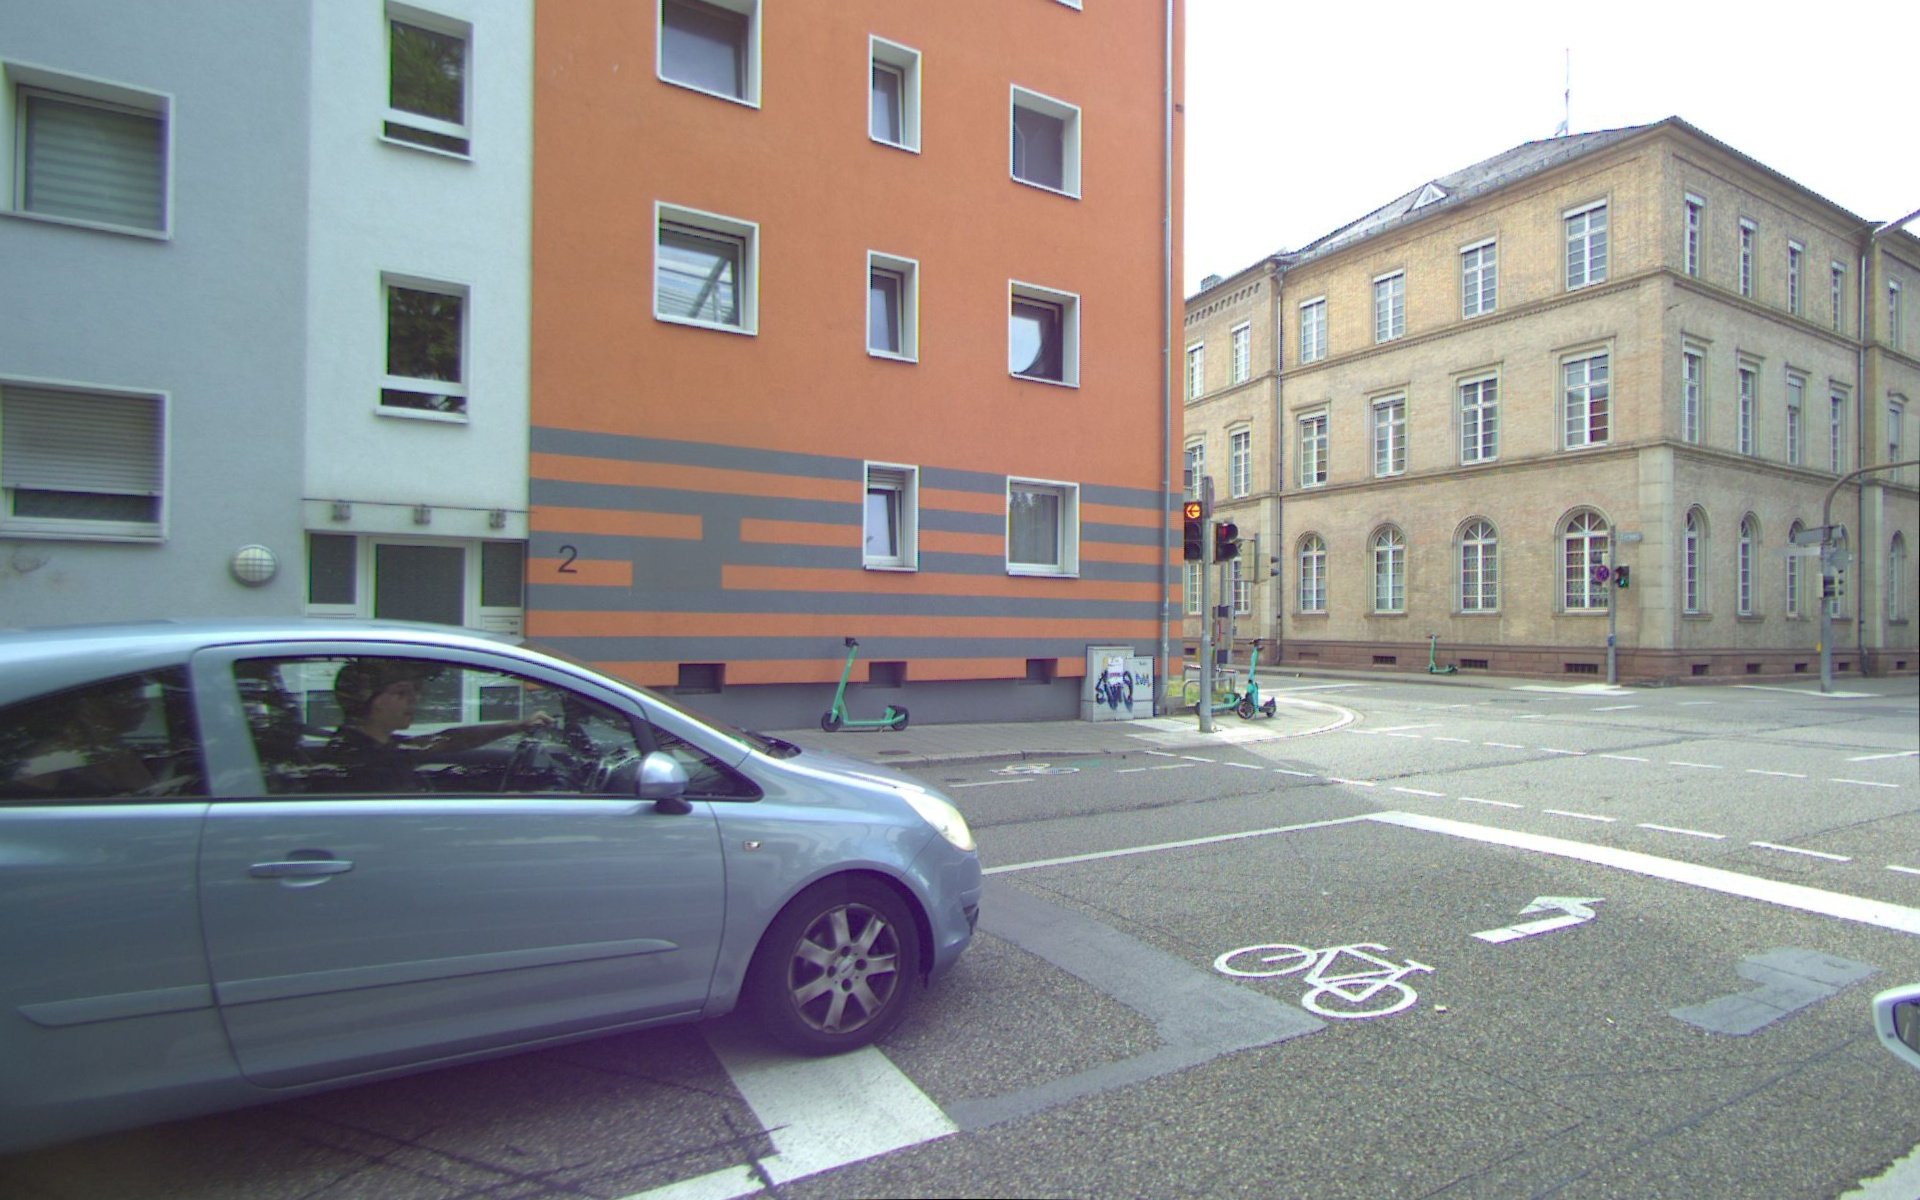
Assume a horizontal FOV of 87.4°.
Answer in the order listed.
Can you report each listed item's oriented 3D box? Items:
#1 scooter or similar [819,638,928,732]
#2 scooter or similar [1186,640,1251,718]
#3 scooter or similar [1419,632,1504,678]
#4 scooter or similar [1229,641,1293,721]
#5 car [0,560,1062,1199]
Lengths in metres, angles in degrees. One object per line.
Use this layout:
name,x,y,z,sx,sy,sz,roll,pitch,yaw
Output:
scooter or similar,-1.089,1.055,12.756,1.338,1.139,0.367,1,0,-30
scooter or similar,4.172,1.250,16.160,1.344,1.173,0.325,1,0,-44
scooter or similar,14.364,1.549,28.863,0.552,1.180,2.362,1,0,-24
scooter or similar,4.746,1.250,15.791,1.334,1.194,0.325,1,0,-44
car,-1.657,0.678,3.457,3.776,1.458,1.660,1,-2,-31
